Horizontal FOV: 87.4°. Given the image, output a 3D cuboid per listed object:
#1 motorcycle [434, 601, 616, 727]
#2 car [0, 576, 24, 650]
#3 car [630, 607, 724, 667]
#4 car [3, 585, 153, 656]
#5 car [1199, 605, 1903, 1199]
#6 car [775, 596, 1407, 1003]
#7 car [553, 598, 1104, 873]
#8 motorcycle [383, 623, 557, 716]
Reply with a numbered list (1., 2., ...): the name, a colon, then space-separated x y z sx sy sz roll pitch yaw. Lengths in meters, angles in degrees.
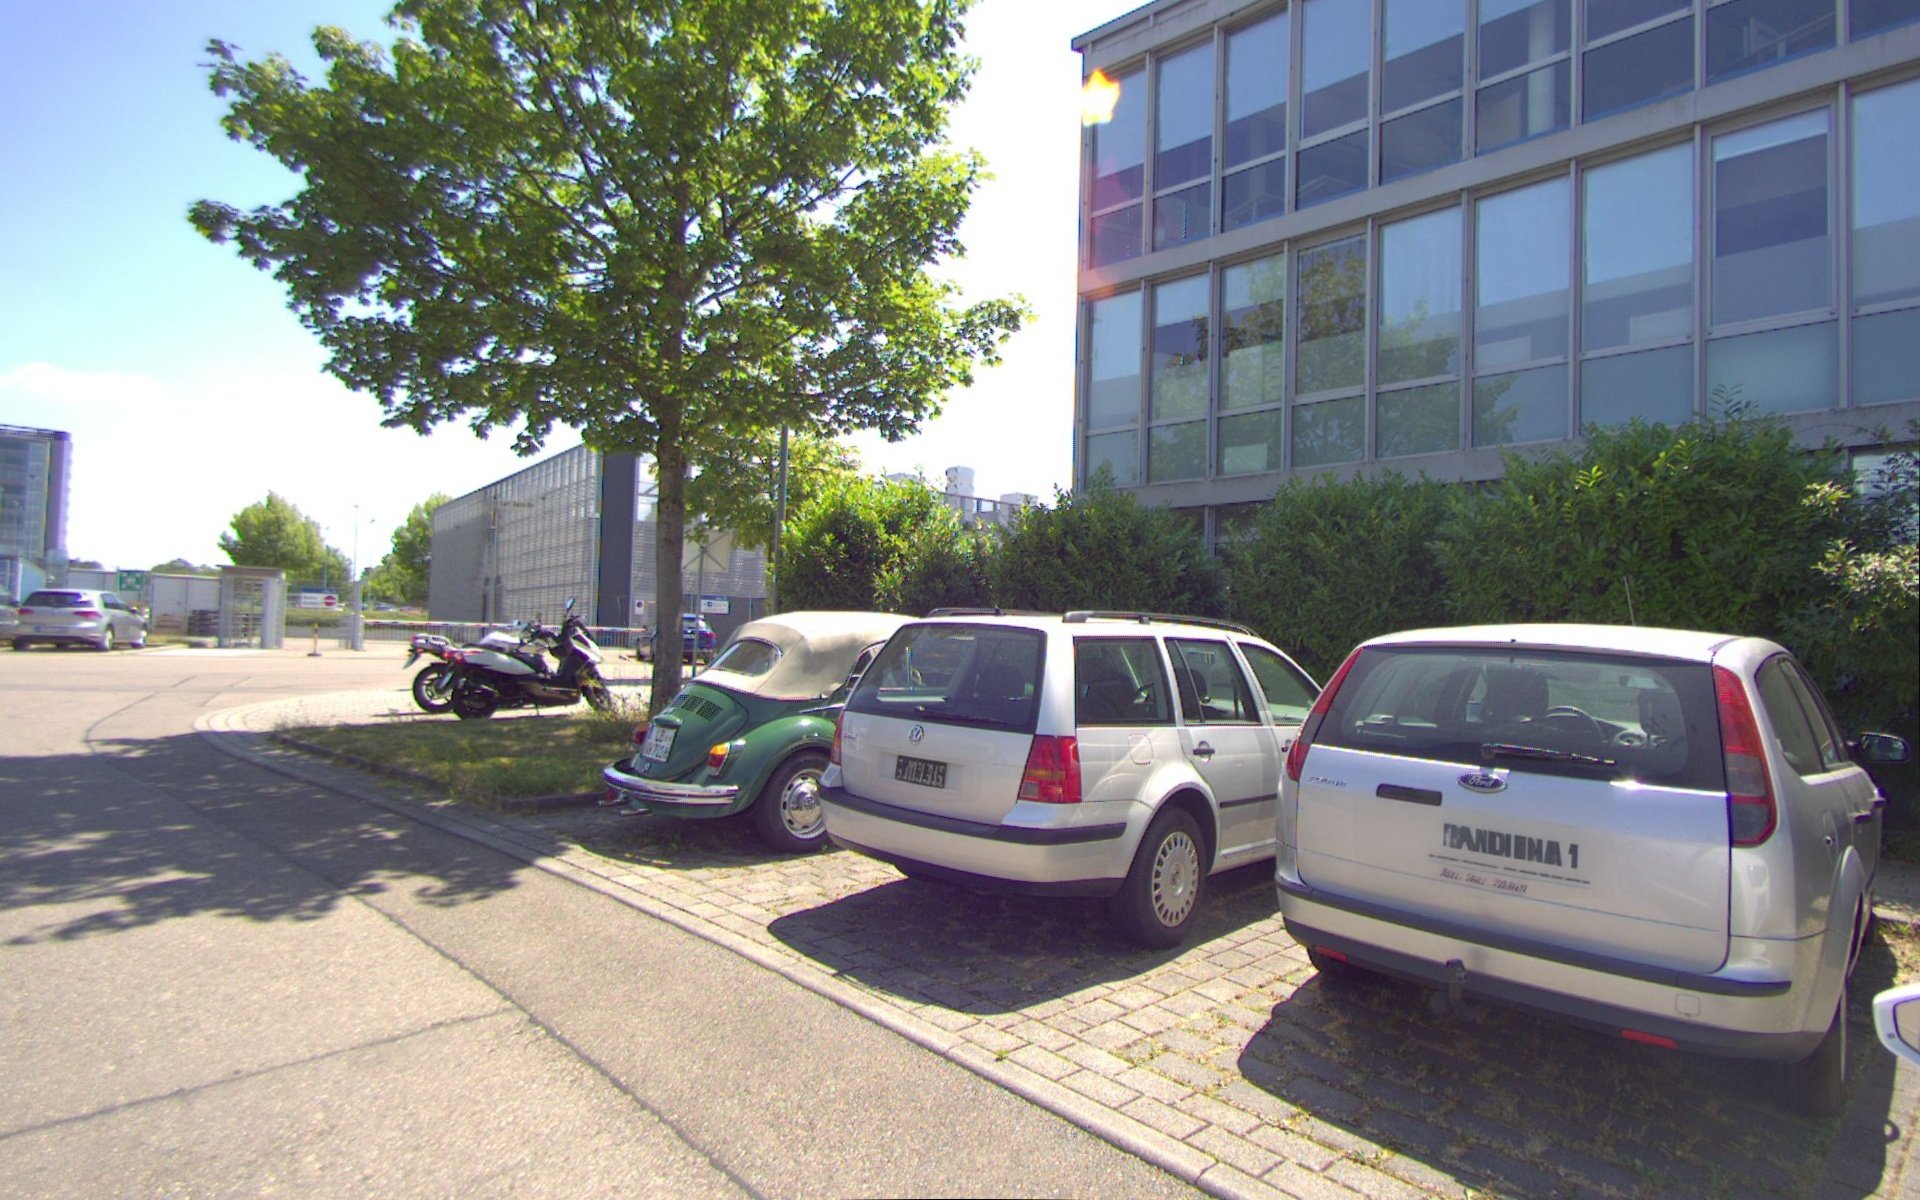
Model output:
1. motorcycle: -5.247 0.757 12.244 0.477 1.408 1.979 1 -1 42
2. car: -23.749 0.268 23.673 1.754 1.761 3.963 3 -2 -33
3. car: -8.372 1.046 29.529 1.974 1.616 3.974 2 -1 -26
4. car: -21.493 0.489 24.659 1.631 1.542 3.975 3 -1 -25
5. car: 3.007 0.869 4.560 4.321 1.498 1.702 4 -2 -45
6. car: 1.026 0.823 5.730 1.629 1.498 3.871 1 -2 42
7. car: -0.724 0.813 7.408 1.629 1.467 3.871 1 -2 42
8. motorcycle: -6.348 0.880 13.116 0.477 1.123 1.979 1 -1 42
